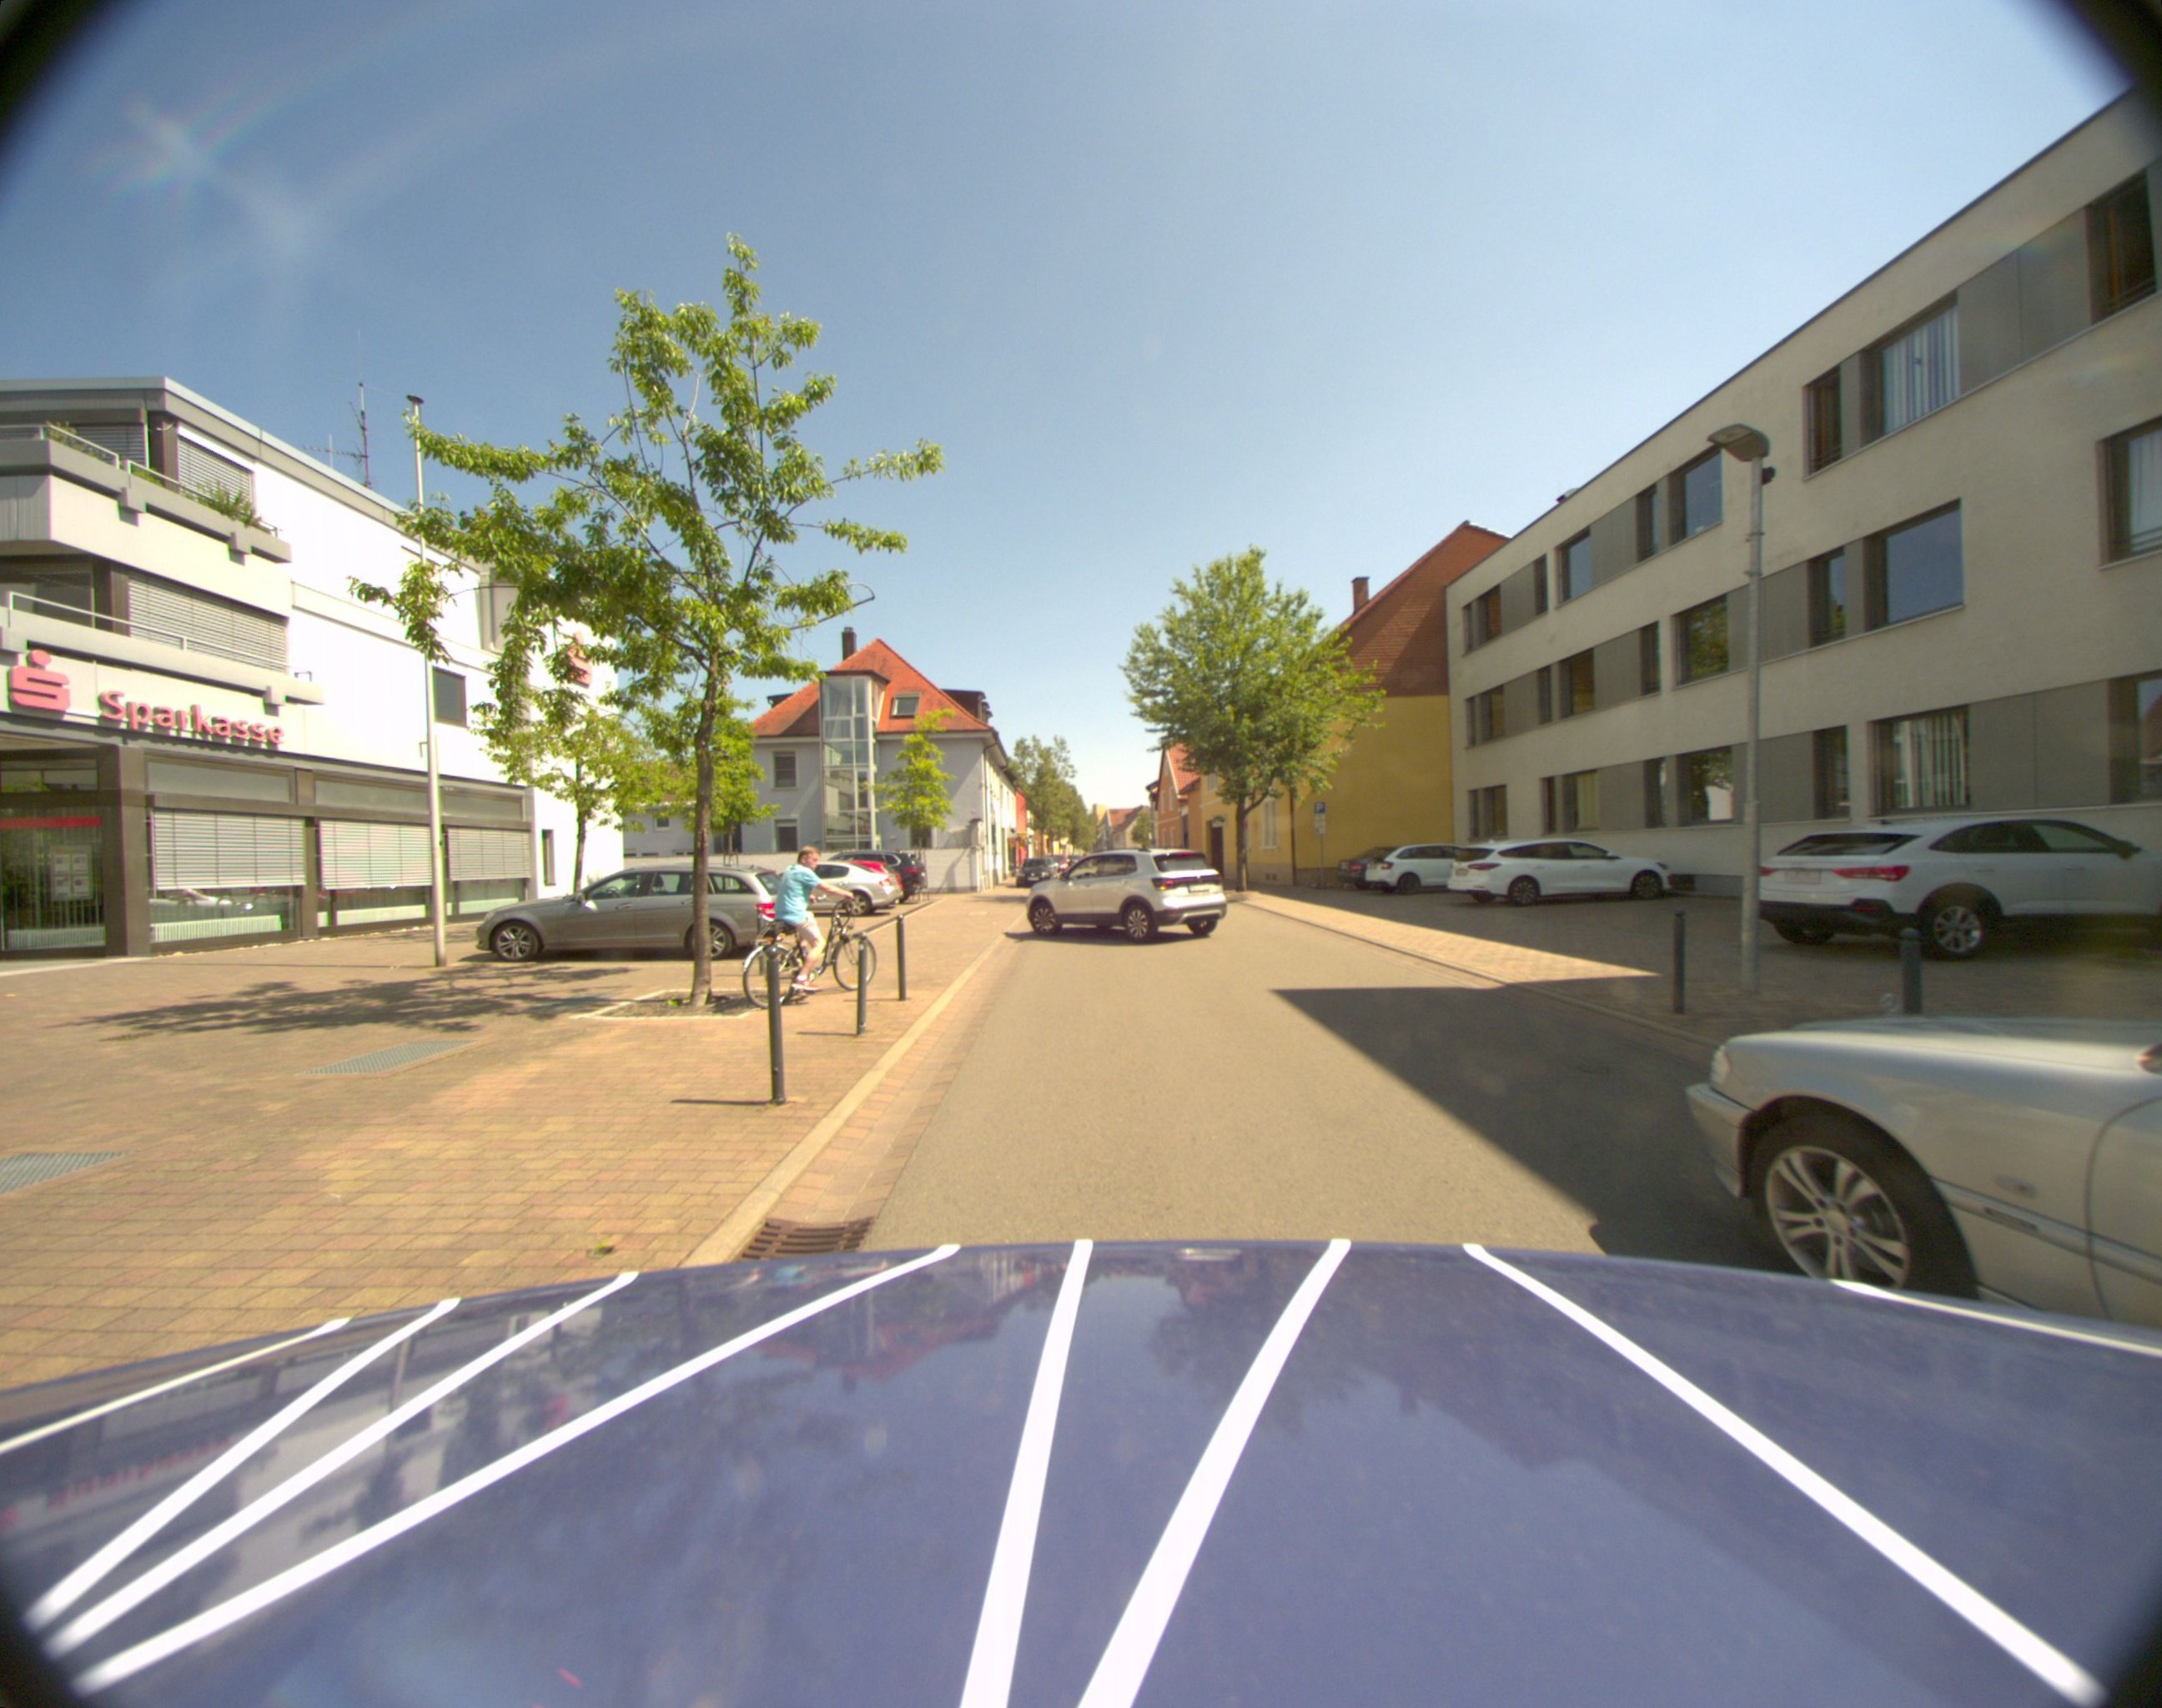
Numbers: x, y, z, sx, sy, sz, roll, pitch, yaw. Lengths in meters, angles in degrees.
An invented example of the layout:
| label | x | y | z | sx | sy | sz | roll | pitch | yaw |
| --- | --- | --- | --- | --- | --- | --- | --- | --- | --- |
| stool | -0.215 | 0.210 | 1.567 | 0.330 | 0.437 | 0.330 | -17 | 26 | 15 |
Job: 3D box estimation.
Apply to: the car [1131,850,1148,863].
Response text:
| label | x | y | z | sx | sy | sz | roll | pitch | yaw |
| --- | --- | --- | --- | --- | --- | --- | --- | --- | --- |
| car | 7.369 | 0.289 | 95.372 | 1.862 | 1.620 | 4.049 | -2 | 0 | 8 |

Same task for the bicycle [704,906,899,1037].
| label | x | y | z | sx | sy | sz | roll | pitch | yaw |
| --- | --- | --- | --- | --- | --- | --- | --- | --- | --- |
| bicycle | -2.936 | 1.185 | 8.187 | 0.674 | 1.103 | 1.900 | 0 | 1 | 35 |

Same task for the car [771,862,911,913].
| label | x | y | z | sx | sy | sz | roll | pitch | yaw |
| --- | --- | --- | --- | --- | --- | --- | --- | --- | --- |
| car | -7.129 | 0.977 | 22.915 | 3.740 | 1.444 | 1.744 | 0 | 0 | -6 |

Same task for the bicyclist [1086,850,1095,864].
| label | x | y | z | sx | sy | sz | roll | pitch | yaw |
| --- | --- | --- | --- | --- | --- | --- | --- | --- | --- |
| bicyclist | 1.186 | 0.340 | 92.387 | 1.028 | 1.635 | 1.025 | -1 | 1 | 4 |

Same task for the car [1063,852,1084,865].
| label | x | y | z | sx | sy | sz | roll | pitch | yaw |
| --- | --- | --- | --- | --- | --- | --- | --- | --- | --- |
| car | -0.921 | 0.533 | 95.025 | 1.928 | 1.594 | 4.110 | -2 | 0 | 8 |

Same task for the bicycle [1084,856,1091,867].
| label | x | y | z | sx | sy | sz | roll | pitch | yaw |
| --- | --- | --- | --- | --- | --- | --- | --- | --- | --- |
| bicycle | 0.769 | 0.833 | 87.816 | 0.635 | 1.227 | 1.895 | 0 | -1 | 6 |

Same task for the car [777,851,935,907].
| label | x | y | z | sx | sy | sz | roll | pitch | yaw |
| --- | --- | --- | --- | --- | --- | --- | --- | --- | --- |
| car | -7.339 | 0.801 | 25.224 | 4.643 | 1.760 | 2.147 | 0 | 0 | -2 |

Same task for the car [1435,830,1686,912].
| label | x | y | z | sx | sy | sz | roll | pitch | yaw |
| --- | --- | --- | --- | --- | --- | --- | --- | --- | --- |
| car | 10.849 | 0.355 | 17.446 | 4.515 | 1.545 | 1.934 | -3 | 1 | 0 |

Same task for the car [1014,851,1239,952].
| label | x | y | z | sx | sy | sz | roll | pitch | yaw |
| --- | --- | --- | --- | --- | --- | --- | --- | --- | --- |
| car | 0.703 | 0.763 | 13.928 | 1.861 | 1.564 | 3.989 | 0 | 0 | -40 |

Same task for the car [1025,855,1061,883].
| label | x | y | z | sx | sy | sz | roll | pitch | yaw |
| --- | --- | --- | --- | --- | --- | --- | --- | --- | --- |
| car | -2.140 | 0.803 | 43.531 | 1.721 | 1.472 | 4.096 | -1 | 0 | 1 |

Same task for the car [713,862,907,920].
| label | x | y | z | sx | sy | sz | roll | pitch | yaw |
| --- | --- | --- | --- | --- | --- | --- | --- | --- | --- |
| car | -7.107 | 0.952 | 20.340 | 4.549 | 1.432 | 1.838 | 0 | 0 | -6 |

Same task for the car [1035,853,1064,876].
| label | x | y | z | sx | sy | sz | roll | pitch | yaw |
| --- | --- | --- | --- | --- | --- | --- | --- | --- | --- |
| car | -2.101 | 0.698 | 51.297 | 1.741 | 1.504 | 3.735 | -1 | 0 | 0 |

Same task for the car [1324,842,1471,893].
| label | x | y | z | sx | sy | sz | roll | pitch | yaw |
| --- | --- | --- | --- | --- | --- | --- | --- | --- | --- |
| car | 10.405 | 0.427 | 25.190 | 3.998 | 1.423 | 1.972 | -3 | 0 | -4 |

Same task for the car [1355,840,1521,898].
| label | x | y | z | sx | sy | sz | roll | pitch | yaw |
| --- | --- | --- | --- | --- | --- | --- | --- | --- | --- |
| car | 10.495 | 0.440 | 22.531 | 3.997 | 1.442 | 1.807 | -3 | 0 | -1 |

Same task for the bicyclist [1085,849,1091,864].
| label | x | y | z | sx | sy | sz | roll | pitch | yaw |
| --- | --- | --- | --- | --- | --- | --- | --- | --- | --- |
| bicyclist | 0.777 | 0.319 | 87.863 | 0.645 | 1.766 | 0.722 | 0 | -1 | 6 |

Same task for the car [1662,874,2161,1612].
| label | x | y | z | sx | sy | sz | roll | pitch | yaw |
| --- | --- | --- | --- | --- | --- | --- | --- | --- | --- |
| car | 3.210 | 0.882 | 0.736 | 1.885 | 1.456 | 4.434 | -1 | 2 | 0 |

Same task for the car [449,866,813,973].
| label | x | y | z | sx | sy | sz | roll | pitch | yaw |
| --- | --- | --- | --- | --- | --- | --- | --- | --- | --- |
| car | -6.876 | 0.959 | 12.102 | 4.589 | 1.504 | 1.915 | 0 | 1 | -6 |

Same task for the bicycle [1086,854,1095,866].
| label | x | y | z | sx | sy | sz | roll | pitch | yaw |
| --- | --- | --- | --- | --- | --- | --- | --- | --- | --- |
| bicycle | 1.179 | 0.686 | 92.244 | 0.959 | 1.363 | 2.406 | -1 | 0 | 4 |

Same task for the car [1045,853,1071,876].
| label | x | y | z | sx | sy | sz | roll | pitch | yaw |
| --- | --- | --- | --- | --- | --- | --- | --- | --- | --- |
| car | -1.739 | 0.745 | 57.362 | 1.834 | 1.579 | 4.086 | -3 | 1 | -3 |

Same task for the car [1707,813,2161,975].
| label | x | y | z | sx | sy | sz | roll | pitch | yaw |
| --- | --- | --- | --- | --- | --- | --- | --- | --- | --- |
| car | 10.686 | 0.391 | 9.144 | 4.518 | 1.545 | 2.147 | -3 | 1 | -1 |

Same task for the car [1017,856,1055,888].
| label | x | y | z | sx | sy | sz | roll | pitch | yaw |
| --- | --- | --- | --- | --- | --- | --- | --- | --- | --- |
| car | -2.185 | 0.847 | 37.862 | 1.708 | 1.472 | 3.921 | 0 | 0 | -1 |

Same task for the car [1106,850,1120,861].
| label | x | y | z | sx | sy | sz | roll | pitch | yaw |
| --- | --- | --- | --- | --- | --- | --- | --- | --- | --- |
| car | 6.726 | 0.353 | 158.116 | 2.443 | 2.224 | 4.959 | -2 | 0 | -3 |

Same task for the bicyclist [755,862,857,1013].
| label | x | y | z | sx | sy | sz | roll | pitch | yaw |
| --- | --- | --- | --- | --- | --- | --- | --- | --- | --- |
| bicyclist | -2.949 | 0.853 | 8.180 | 0.669 | 1.518 | 0.763 | 0 | 1 | 35 |
